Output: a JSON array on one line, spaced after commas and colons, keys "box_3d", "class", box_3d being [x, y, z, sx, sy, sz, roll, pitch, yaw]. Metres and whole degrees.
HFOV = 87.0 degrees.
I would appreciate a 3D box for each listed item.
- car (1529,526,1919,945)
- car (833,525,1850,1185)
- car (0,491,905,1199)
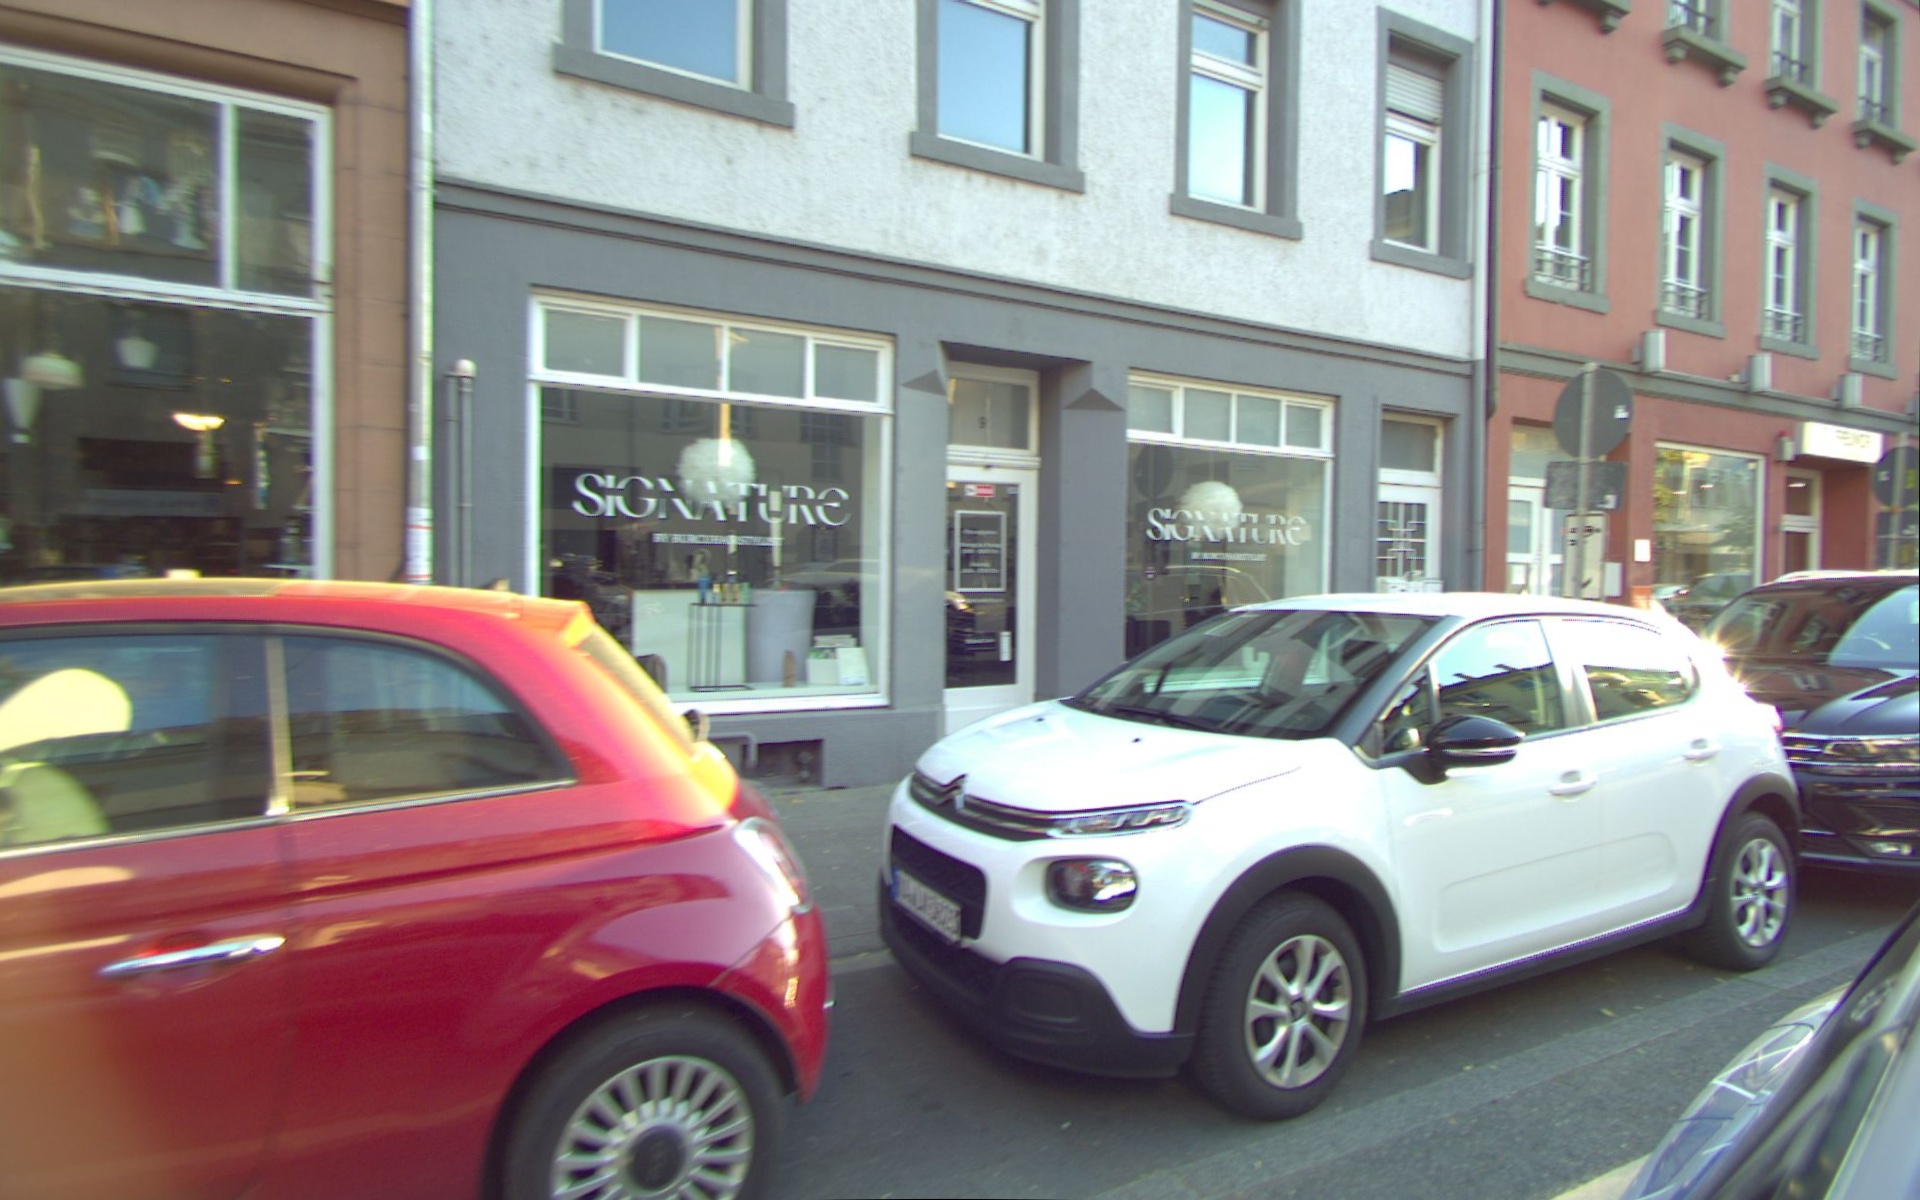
[{"box_3d": [5.502, 0.534, 5.854, 4.370, 1.720, 1.802, -1, 0, -29], "class": "car"}, {"box_3d": [1.601, 0.592, 4.069, 3.854, 1.593, 1.669, -1, 0, -27], "class": "car"}, {"box_3d": [-1.964, 0.612, 2.263, 3.351, 1.590, 1.533, 0, 1, -26], "class": "car"}]
